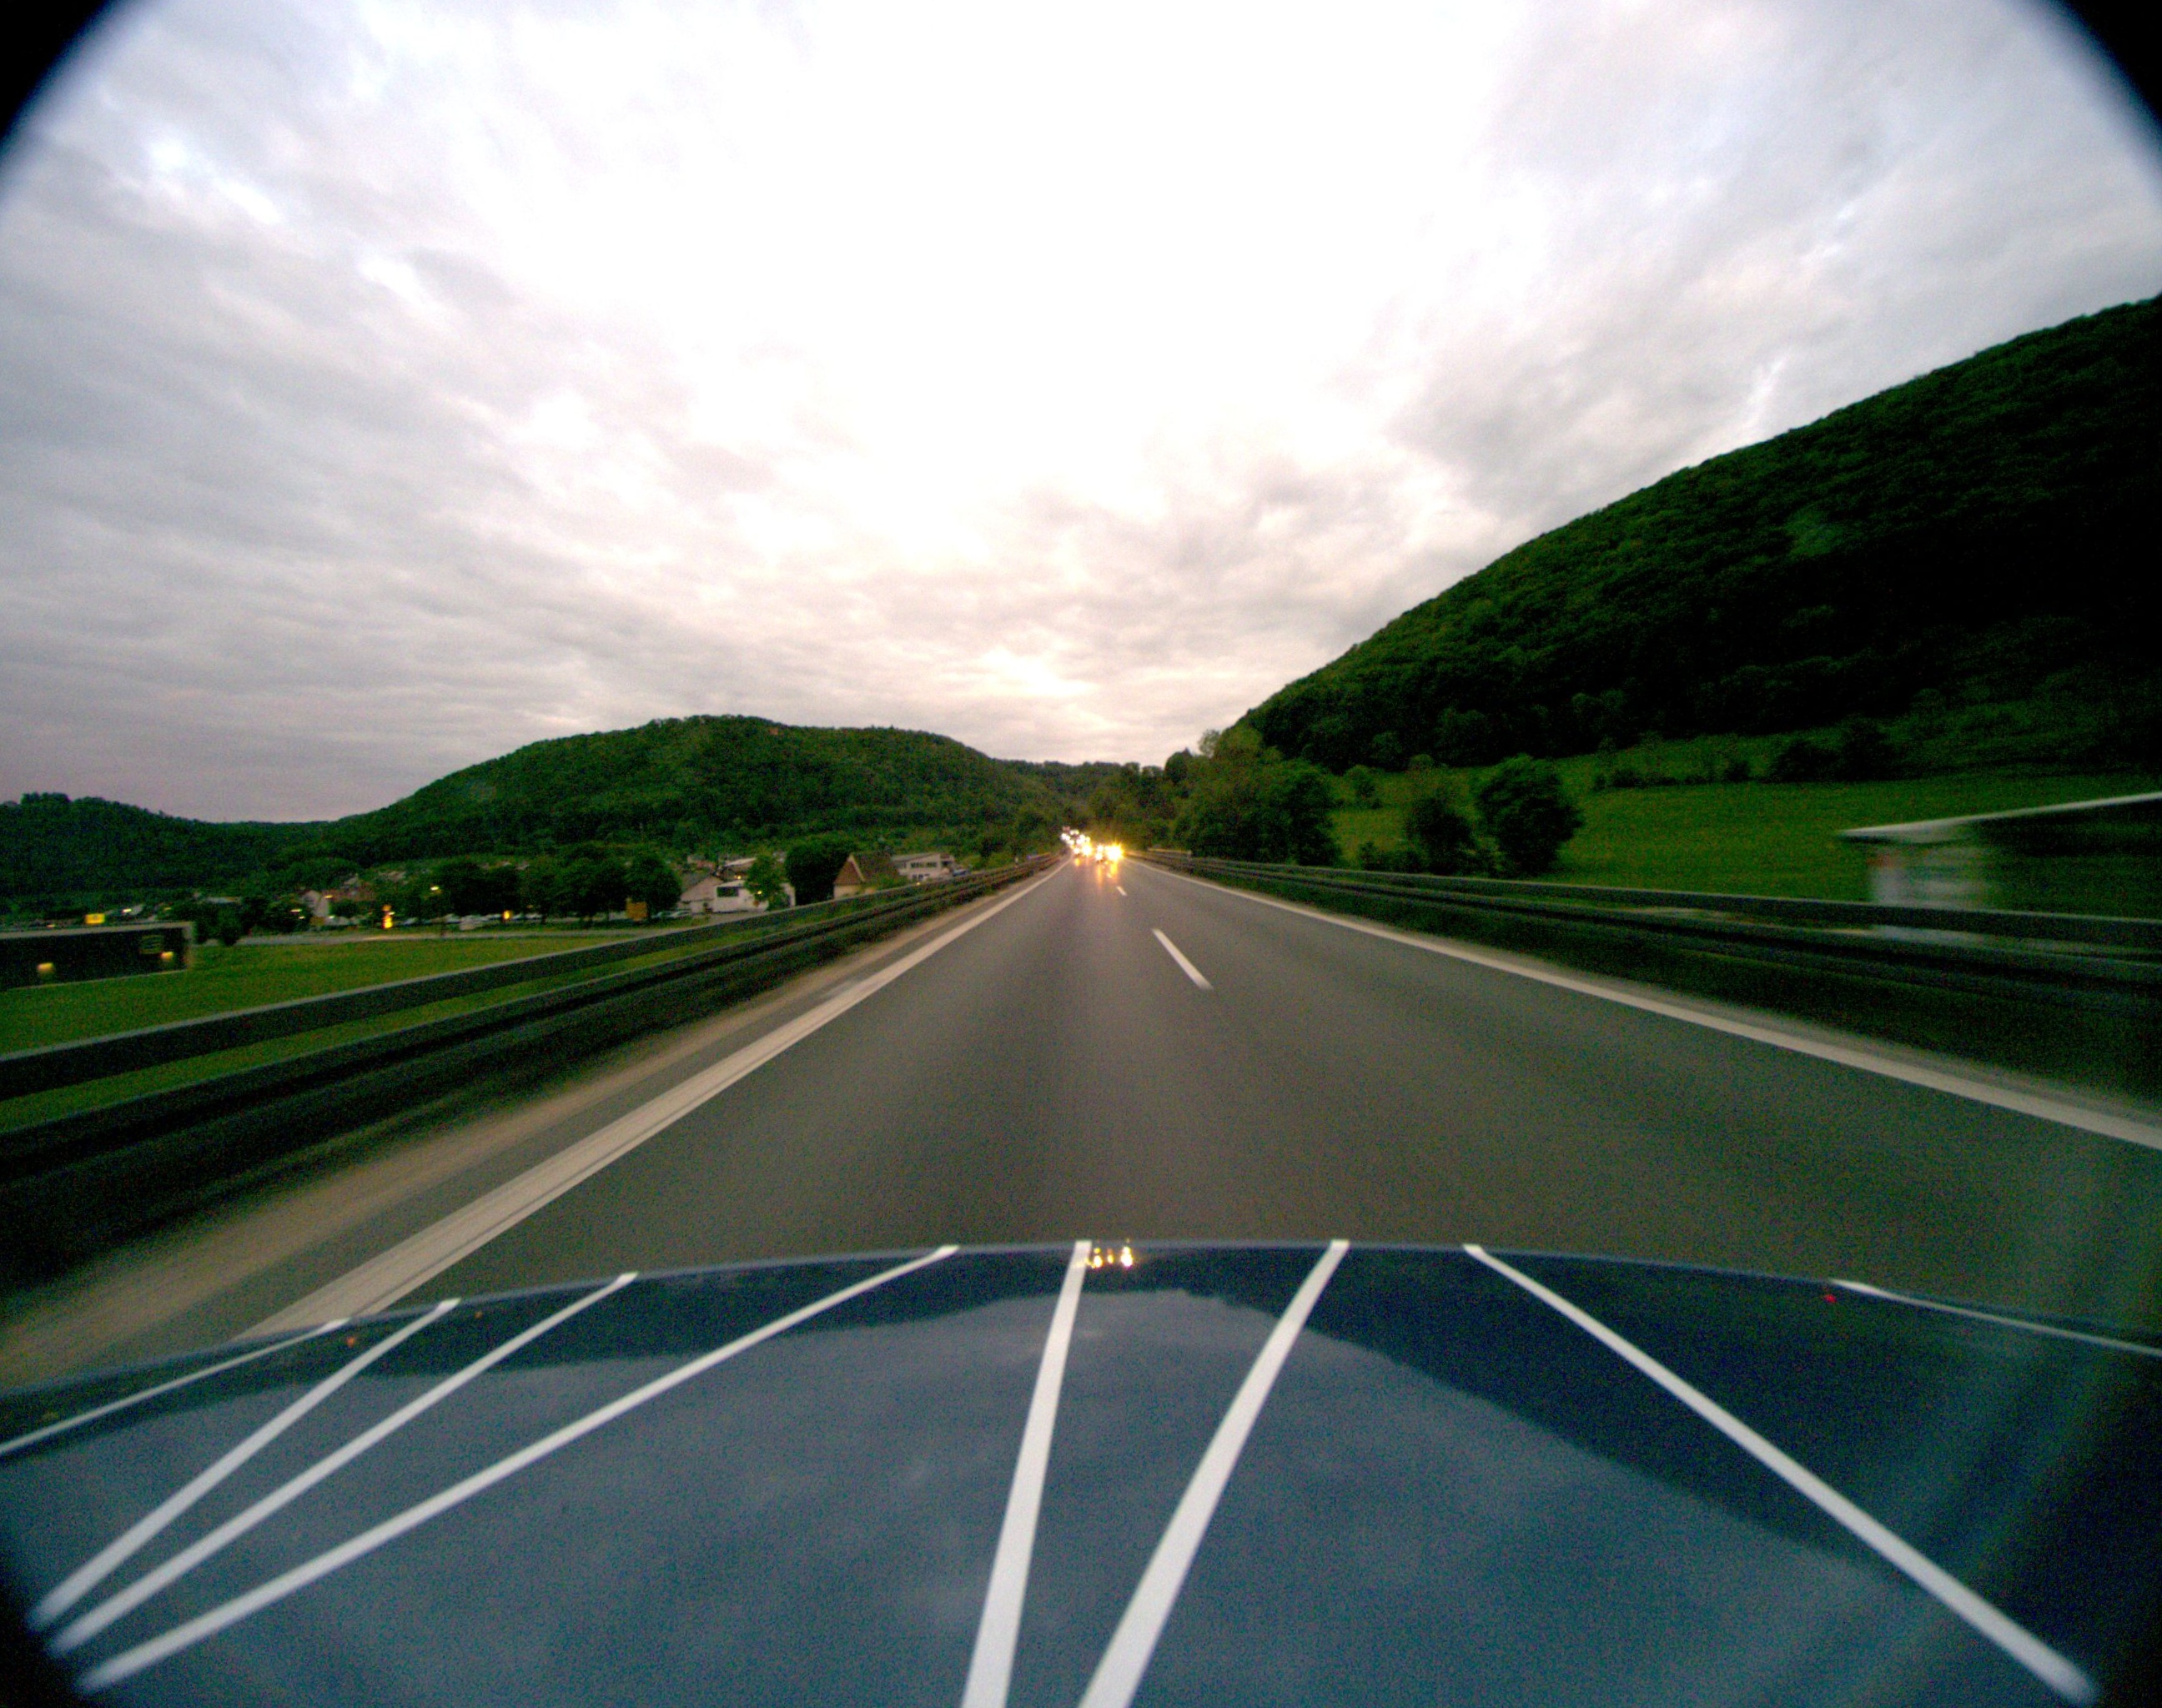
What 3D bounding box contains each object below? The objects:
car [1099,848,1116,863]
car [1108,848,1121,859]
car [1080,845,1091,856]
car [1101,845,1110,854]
[{"bbox_3d":[2.776,0.161,79.531,1.690,1.442,3.670,-1,-3,0],"label":"car"},{"bbox_3d":[4.983,-0.015,114.120,1.690,1.459,3.769,-1,-3,0],"label":"car"},{"bbox_3d":[0.702,-0.524,117.792,1.737,1.640,3.670,-1,-3,0],"label":"car"},{"bbox_3d":[4.716,-0.826,145.133,1.690,1.424,3.670,-1,-3,0],"label":"car"}]
